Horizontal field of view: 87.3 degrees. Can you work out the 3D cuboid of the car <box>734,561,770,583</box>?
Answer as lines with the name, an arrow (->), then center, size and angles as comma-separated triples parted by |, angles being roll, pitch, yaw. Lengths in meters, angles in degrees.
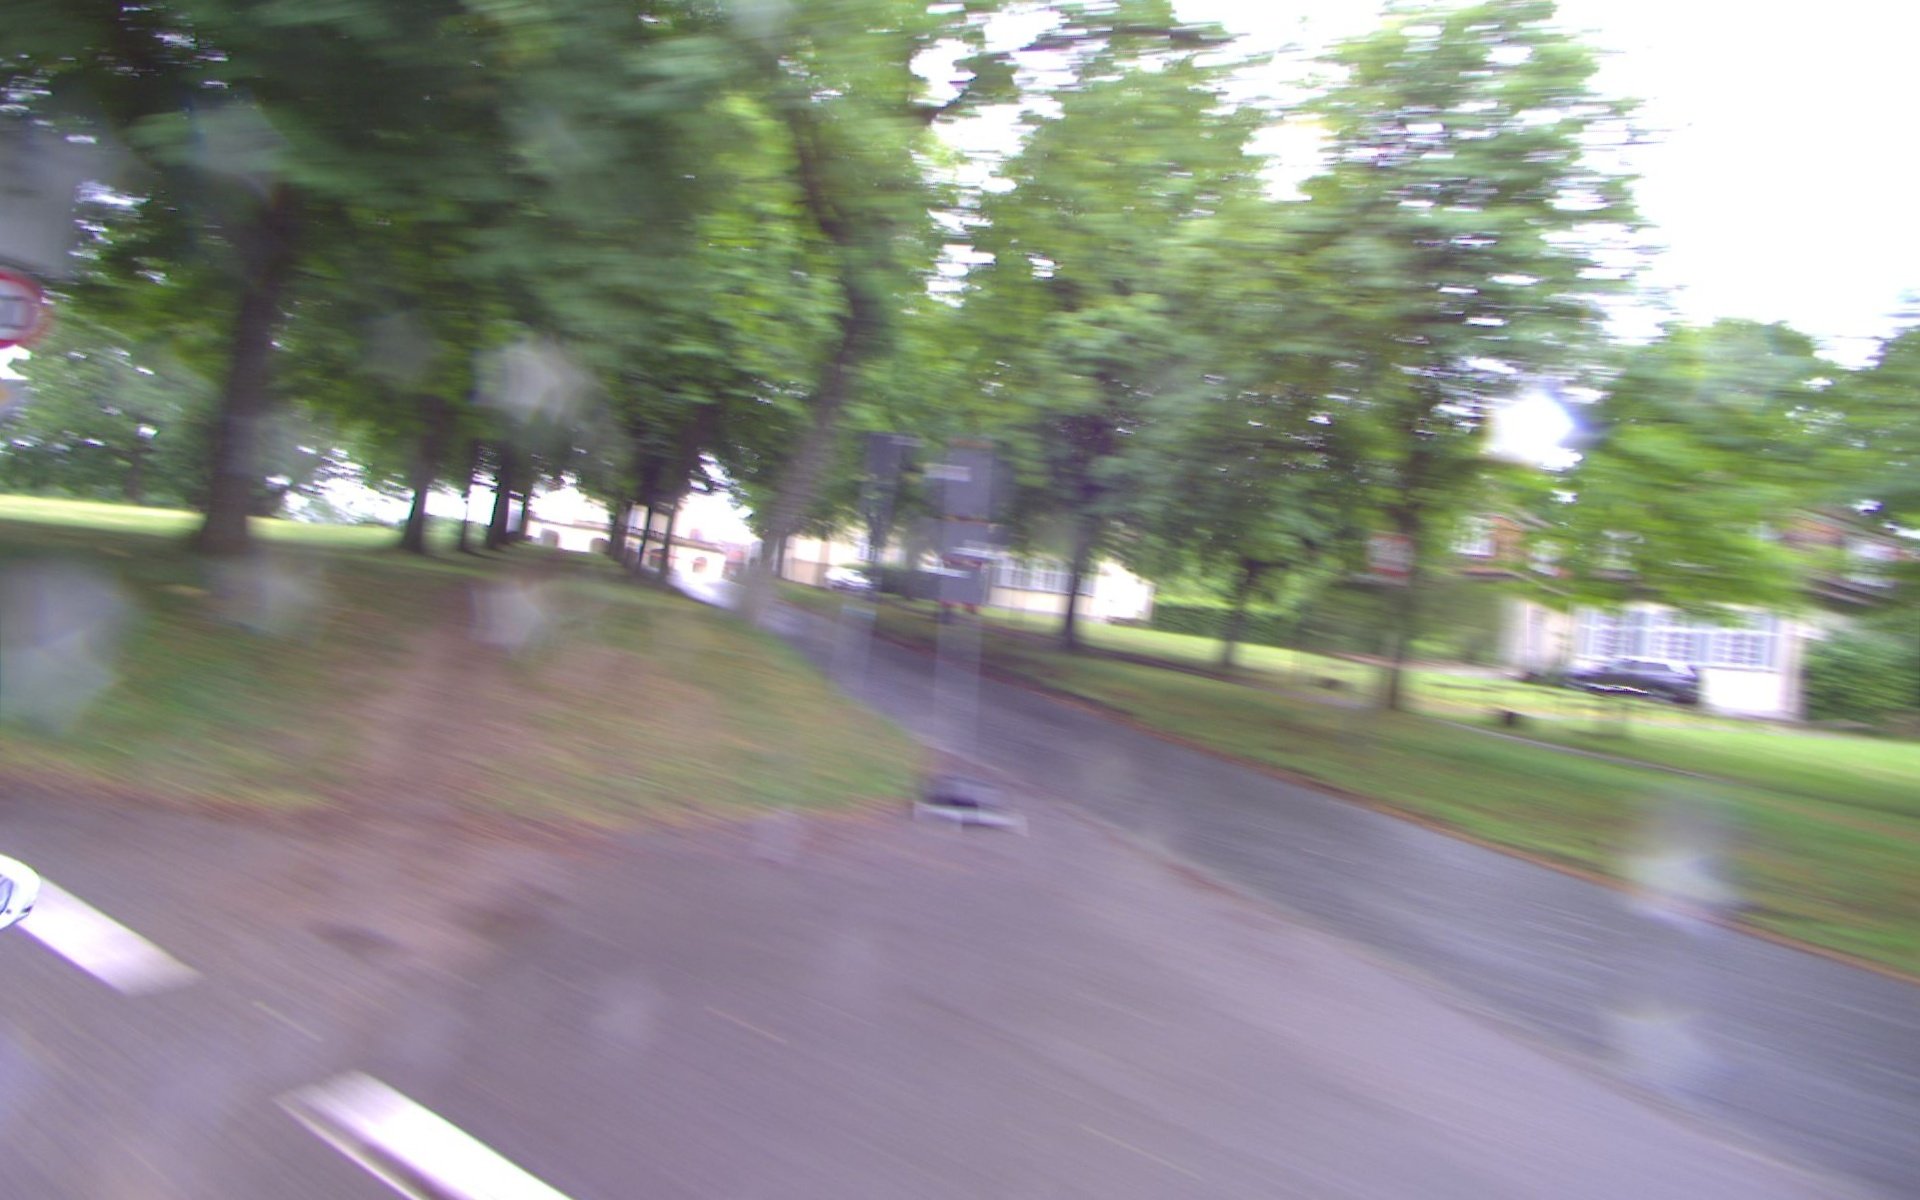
car -> -17.745, -2.383, 85.646 | 1.973, 1.571, 5.033 | 6, 1, -24

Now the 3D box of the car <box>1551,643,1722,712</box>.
car -> 24.106, 2.727, 36.019 | 1.980, 1.856, 4.530 | 8, -2, -31

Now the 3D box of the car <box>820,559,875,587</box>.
car -> -7.307, -1.759, 64.832 | 1.976, 1.446, 4.263 | 6, 1, -28
